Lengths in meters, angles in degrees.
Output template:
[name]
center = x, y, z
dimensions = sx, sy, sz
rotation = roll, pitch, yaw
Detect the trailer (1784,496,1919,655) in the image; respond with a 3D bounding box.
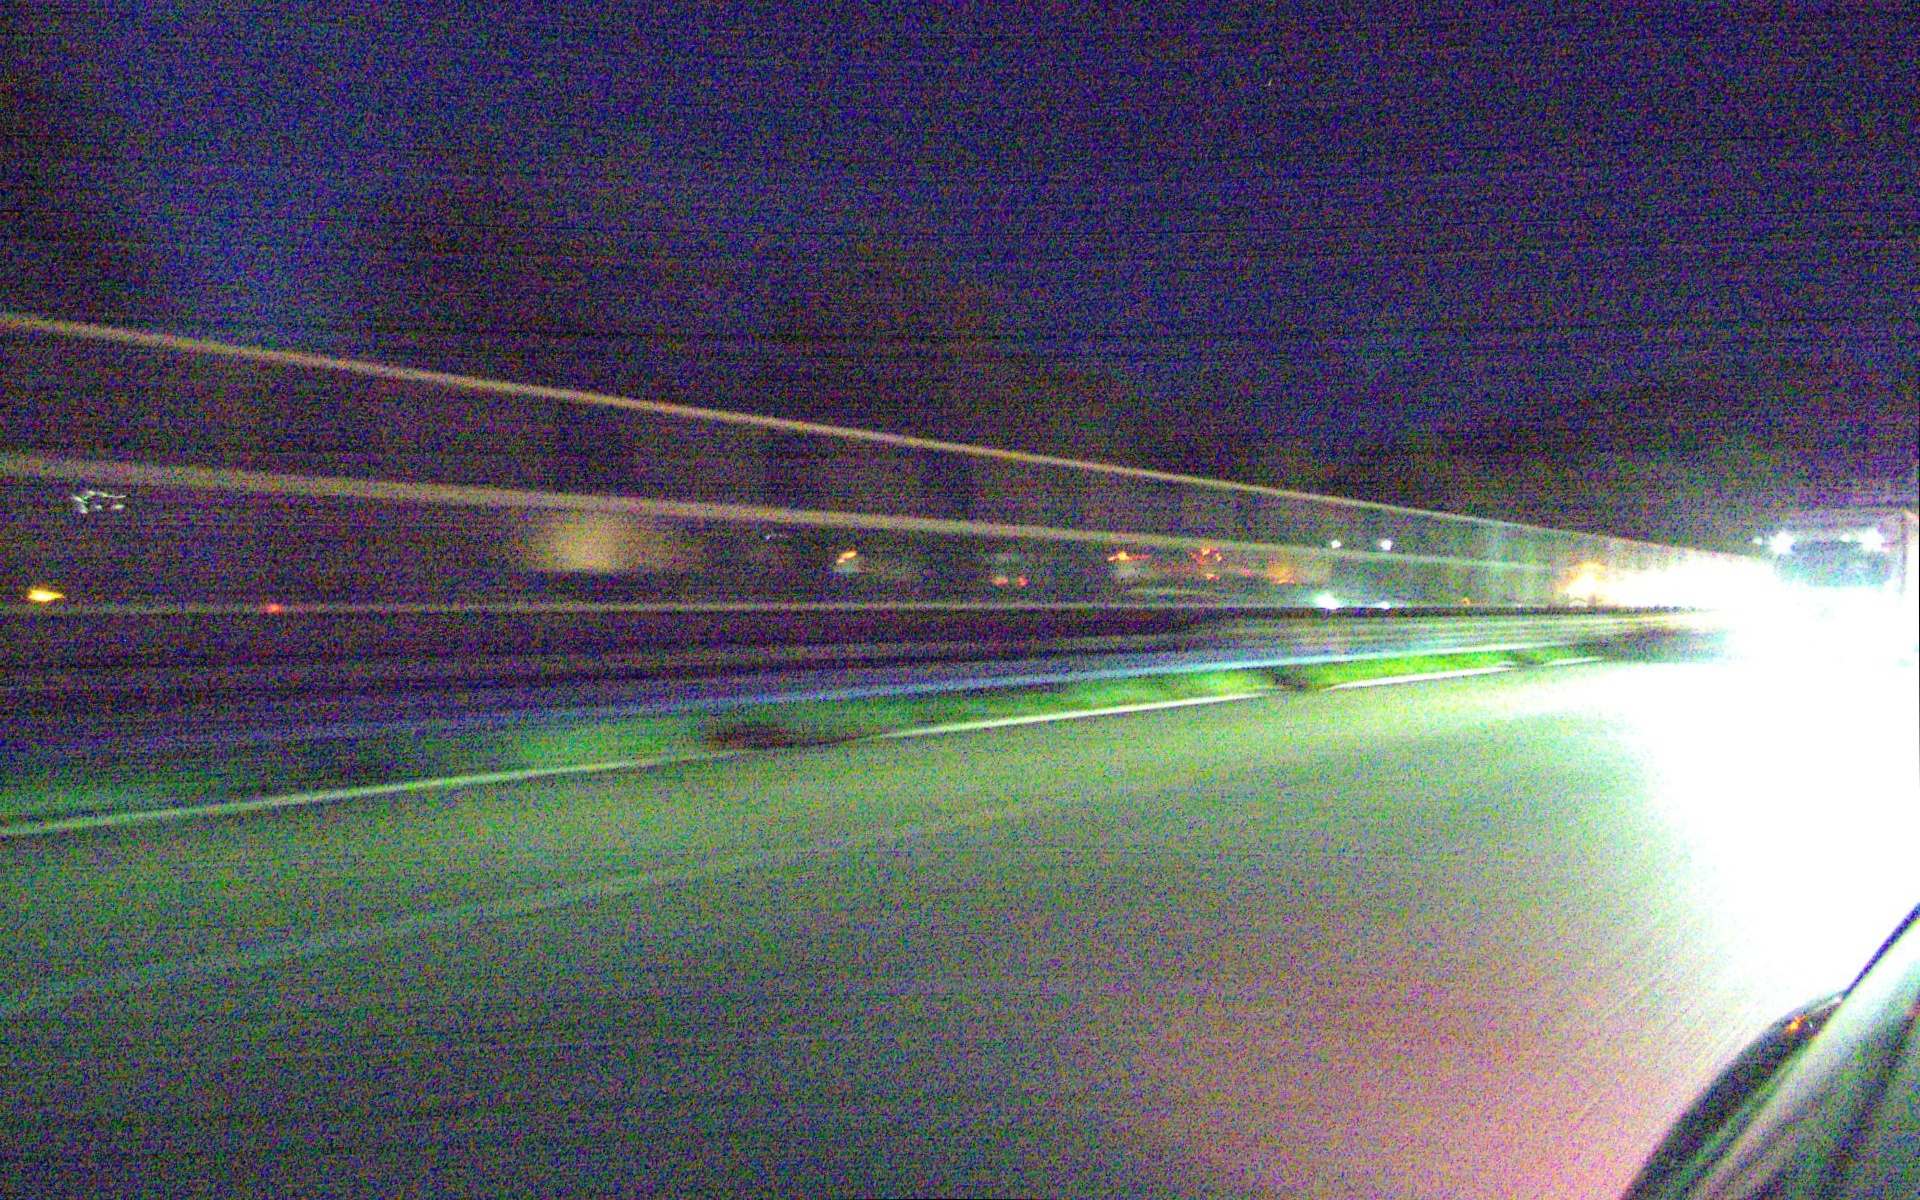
[trailer]
center = 28.924, -0.742, 31.475
dimensions = 12.975, 4.116, 2.860
rotation = 0, 3, -41

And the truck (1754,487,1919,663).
[truck]
center = 24.191, -0.685, 27.306
dimensions = 7.380, 4.126, 2.868
rotation = 0, 3, -41
